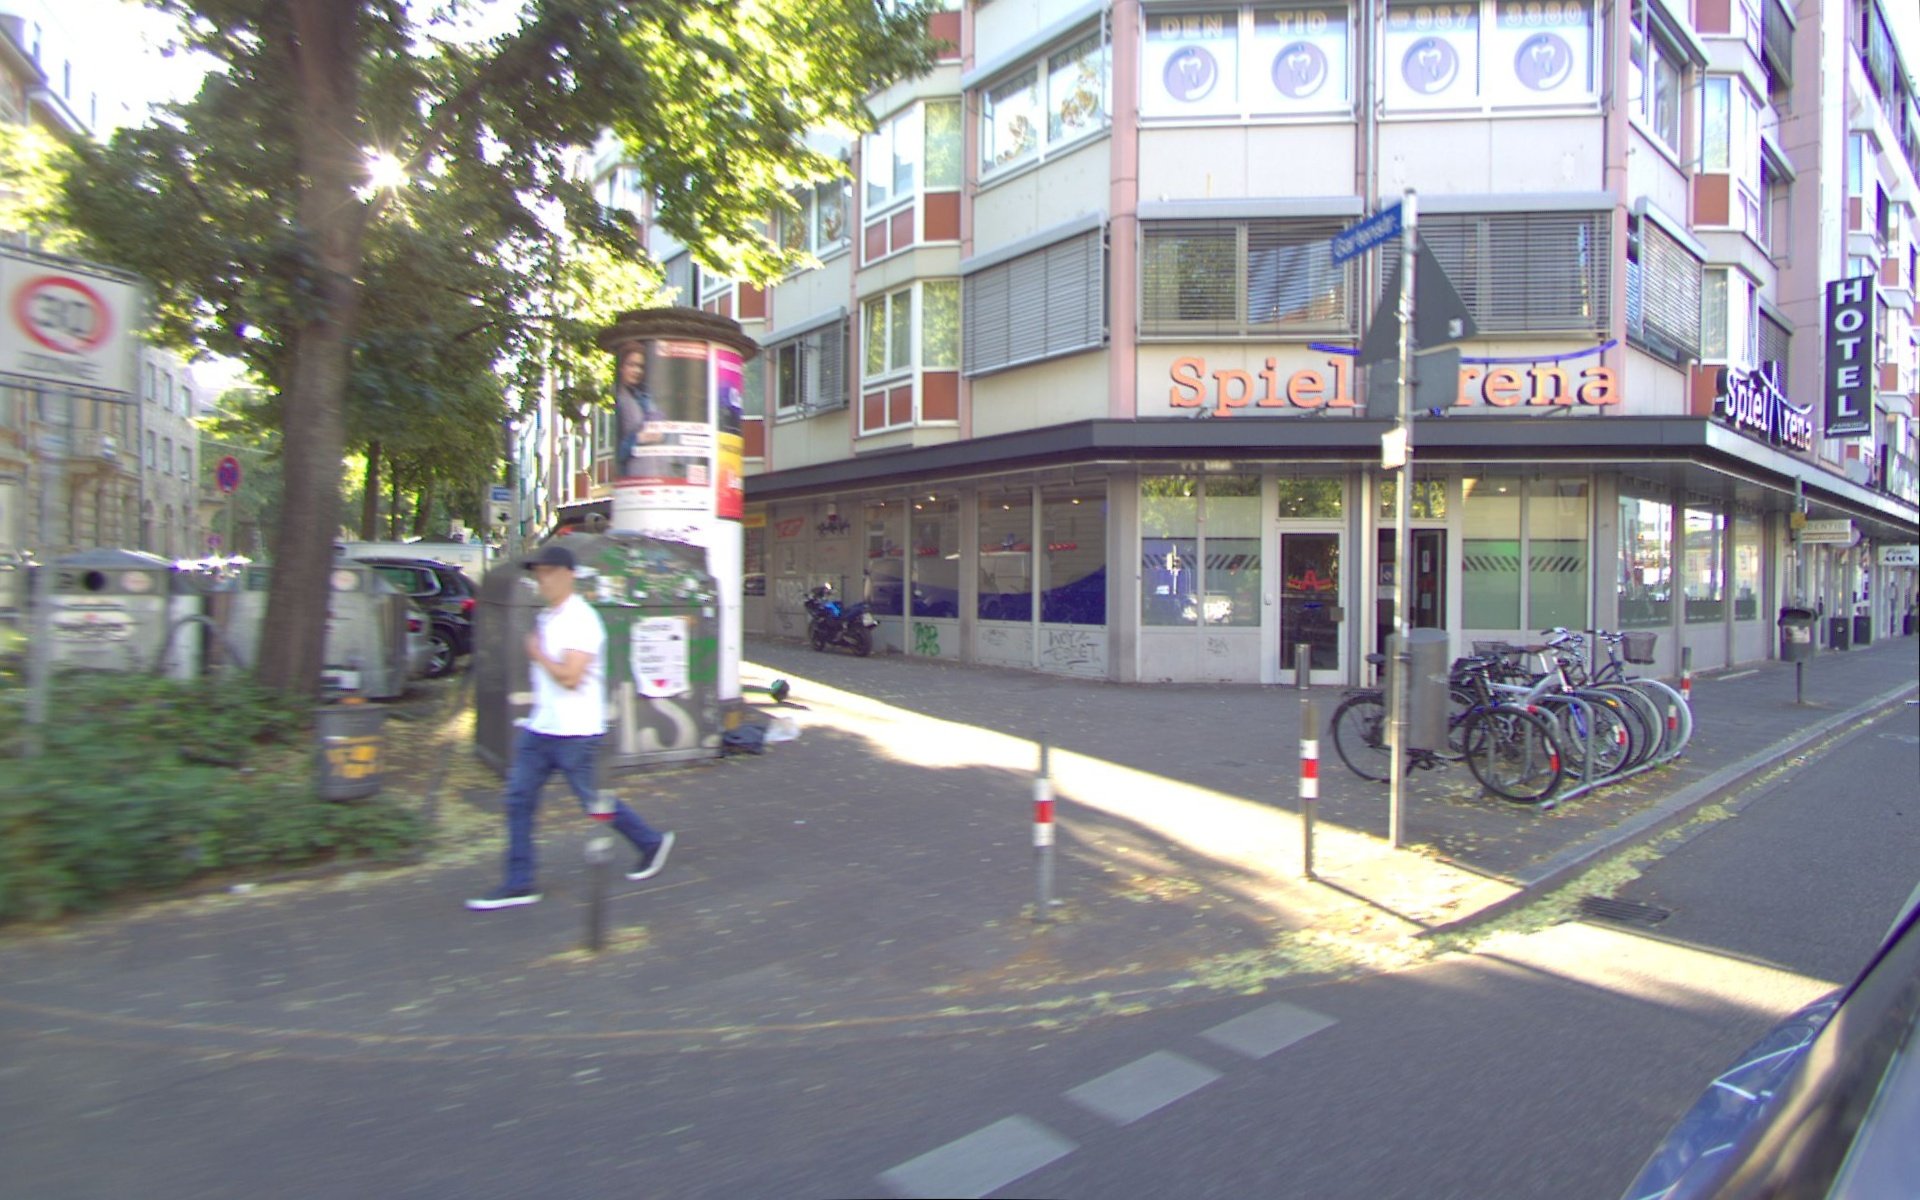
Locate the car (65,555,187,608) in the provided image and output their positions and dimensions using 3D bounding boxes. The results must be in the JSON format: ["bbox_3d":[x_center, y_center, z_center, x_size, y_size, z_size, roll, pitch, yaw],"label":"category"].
[{"bbox_3d":[-24.522,-0.505,29.913,1.787,1.445,4.222,-1,0,-25],"label":"car"}]

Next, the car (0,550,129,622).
[{"bbox_3d":[-21.896,-0.293,24.486,1.787,1.595,4.222,-1,0,-25],"label":"car"}]

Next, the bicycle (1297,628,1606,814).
[{"bbox_3d":[3.391,0.766,7.111,0.698,1.067,1.835,0,0,-43],"label":"bicycle"}]

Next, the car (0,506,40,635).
[{"bbox_3d":[-19.628,-0.567,19.222,1.933,2.551,4.881,-1,0,-27],"label":"car"}]

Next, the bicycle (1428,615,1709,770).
[{"bbox_3d":[5.151,0.720,8.687,0.604,1.118,1.972,0,1,-43],"label":"bicycle"}]

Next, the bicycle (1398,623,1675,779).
[{"bbox_3d":[4.617,0.748,8.208,0.706,1.067,1.835,0,0,-43],"label":"bicycle"}]

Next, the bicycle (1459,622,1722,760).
[{"bbox_3d":[5.626,0.757,9.125,0.670,1.060,1.915,0,0,-43],"label":"bicycle"}]

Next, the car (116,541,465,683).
[{"bbox_3d":[-9.123,0.126,14.230,3.853,1.754,1.976,-1,0,-27],"label":"car"}]

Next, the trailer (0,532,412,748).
[{"bbox_3d":[-7.387,0.295,9.510,3.852,1.754,1.976,0,1,-27],"label":"trailer"}]

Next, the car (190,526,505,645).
[{"bbox_3d":[-11.530,-0.283,19.520,4.943,2.077,1.908,-1,0,-22],"label":"car"}]

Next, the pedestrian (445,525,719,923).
[{"bbox_3d":[-1.834,0.530,4.922,1.015,1.687,0.785,2,-1,-40],"label":"pedestrian"}]

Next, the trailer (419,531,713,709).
[{"bbox_3d":[-4.773,0.152,12.307,3.122,1.906,1.582,-1,3,-30],"label":"trailer"}]

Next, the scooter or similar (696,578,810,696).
[{"bbox_3d":[-2.450,0.432,12.003,1.257,1.361,0.373,-1,-1,1],"label":"scooter or similar"}]
